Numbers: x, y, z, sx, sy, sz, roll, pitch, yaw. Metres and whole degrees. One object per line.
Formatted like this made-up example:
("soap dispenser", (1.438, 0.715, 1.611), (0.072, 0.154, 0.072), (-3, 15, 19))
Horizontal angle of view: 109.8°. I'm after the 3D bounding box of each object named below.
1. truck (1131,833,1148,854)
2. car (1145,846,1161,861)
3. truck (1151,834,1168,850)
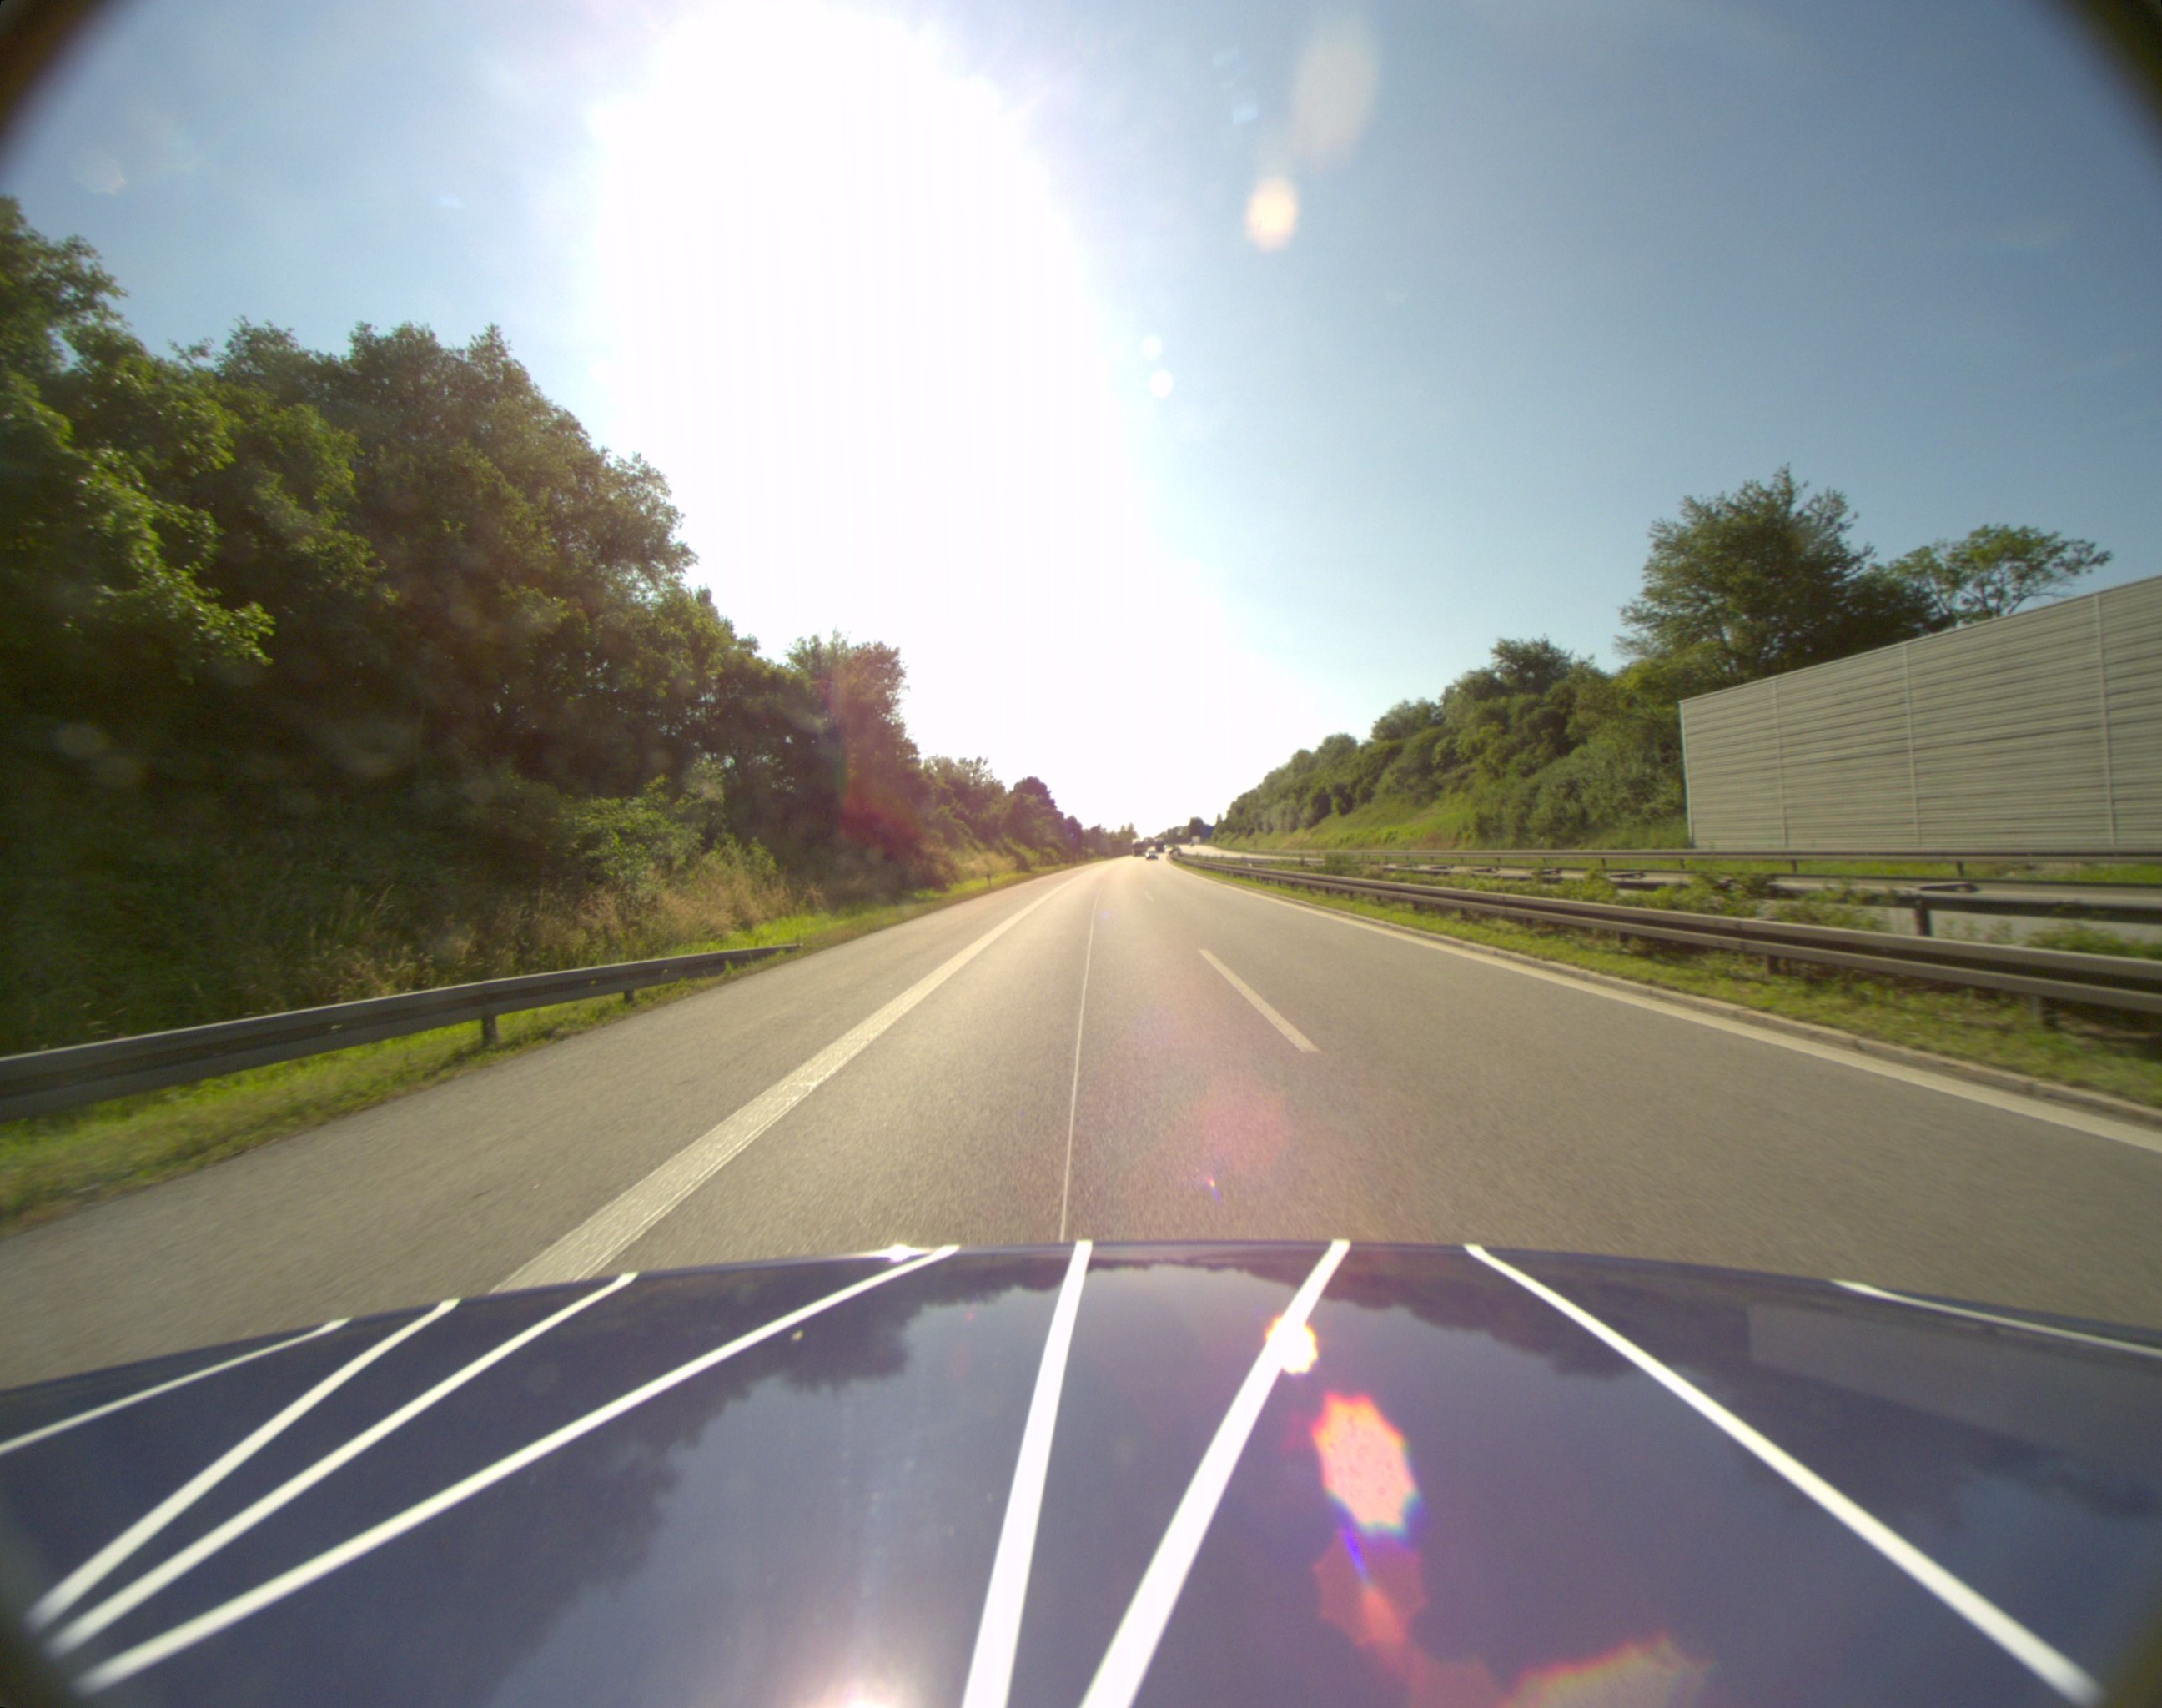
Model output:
("truck", (12.749, -2.233, 165.379), (3.433, 4.187, 12.088), (-3, 0, 4))
("car", (10.673, -0.058, 112.486), (1.997, 2.002, 4.601), (-4, 0, 7))
("truck", (21.598, -3.240, 209.408), (3.434, 4.187, 12.085), (-3, 0, 2))
